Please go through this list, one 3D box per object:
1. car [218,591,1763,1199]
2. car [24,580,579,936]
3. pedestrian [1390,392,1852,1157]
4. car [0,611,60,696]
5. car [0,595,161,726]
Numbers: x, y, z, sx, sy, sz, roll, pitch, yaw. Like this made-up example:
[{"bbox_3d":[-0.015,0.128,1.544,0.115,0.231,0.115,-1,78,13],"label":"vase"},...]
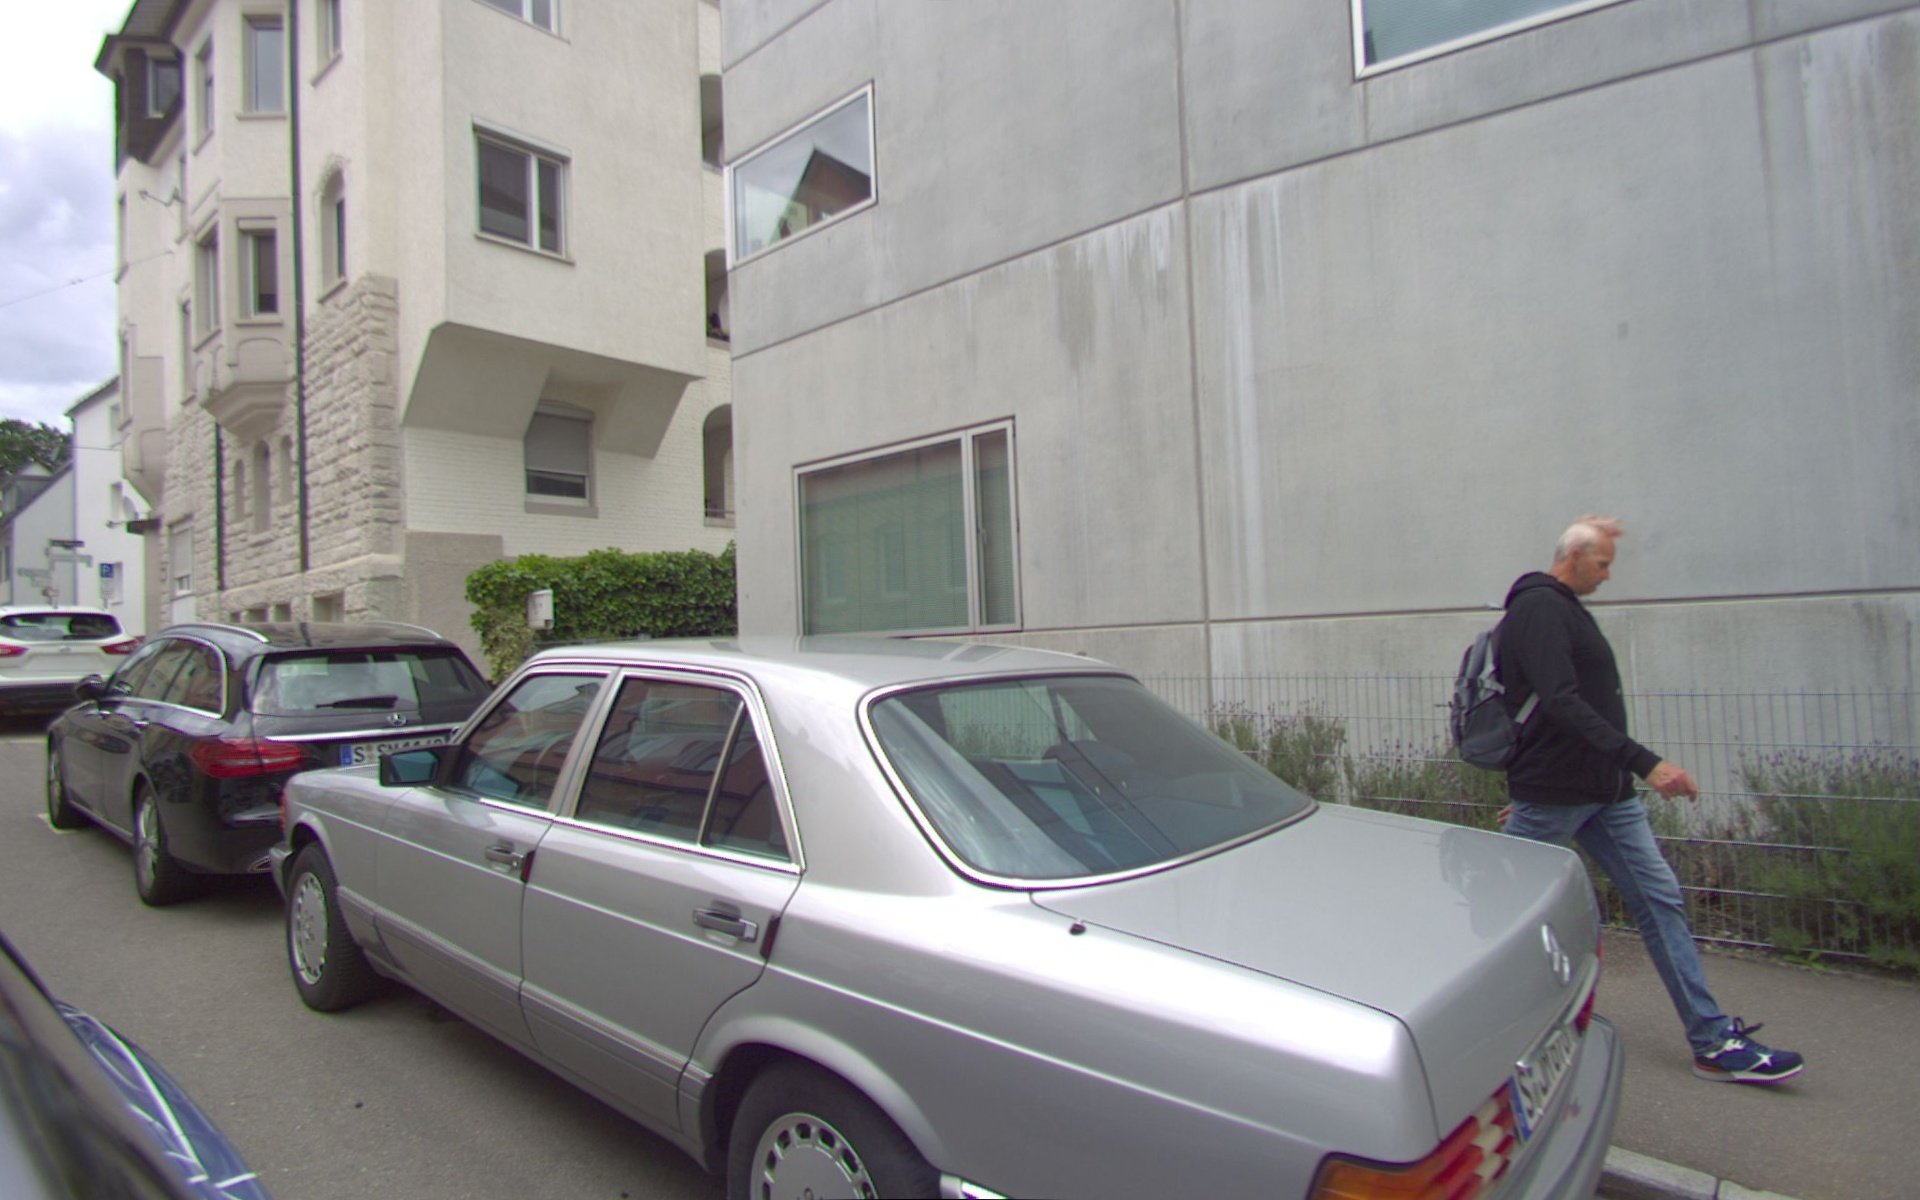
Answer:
[{"bbox_3d":[-0.609,0.743,3.337,5.058,1.423,1.826,-1,-1,40],"label":"car"},{"bbox_3d":[-4.484,0.709,6.578,4.468,1.539,1.876,-1,-1,41],"label":"car"},{"bbox_3d":[1.962,0.440,3.085,0.805,1.899,0.850,1,-2,-27],"label":"pedestrian"},{"bbox_3d":[-17.848,0.951,18.308,4.236,1.425,1.682,-2,-2,39],"label":"car"},{"bbox_3d":[-12.509,0.769,13.671,4.236,1.527,1.827,-2,-2,39],"label":"car"}]
